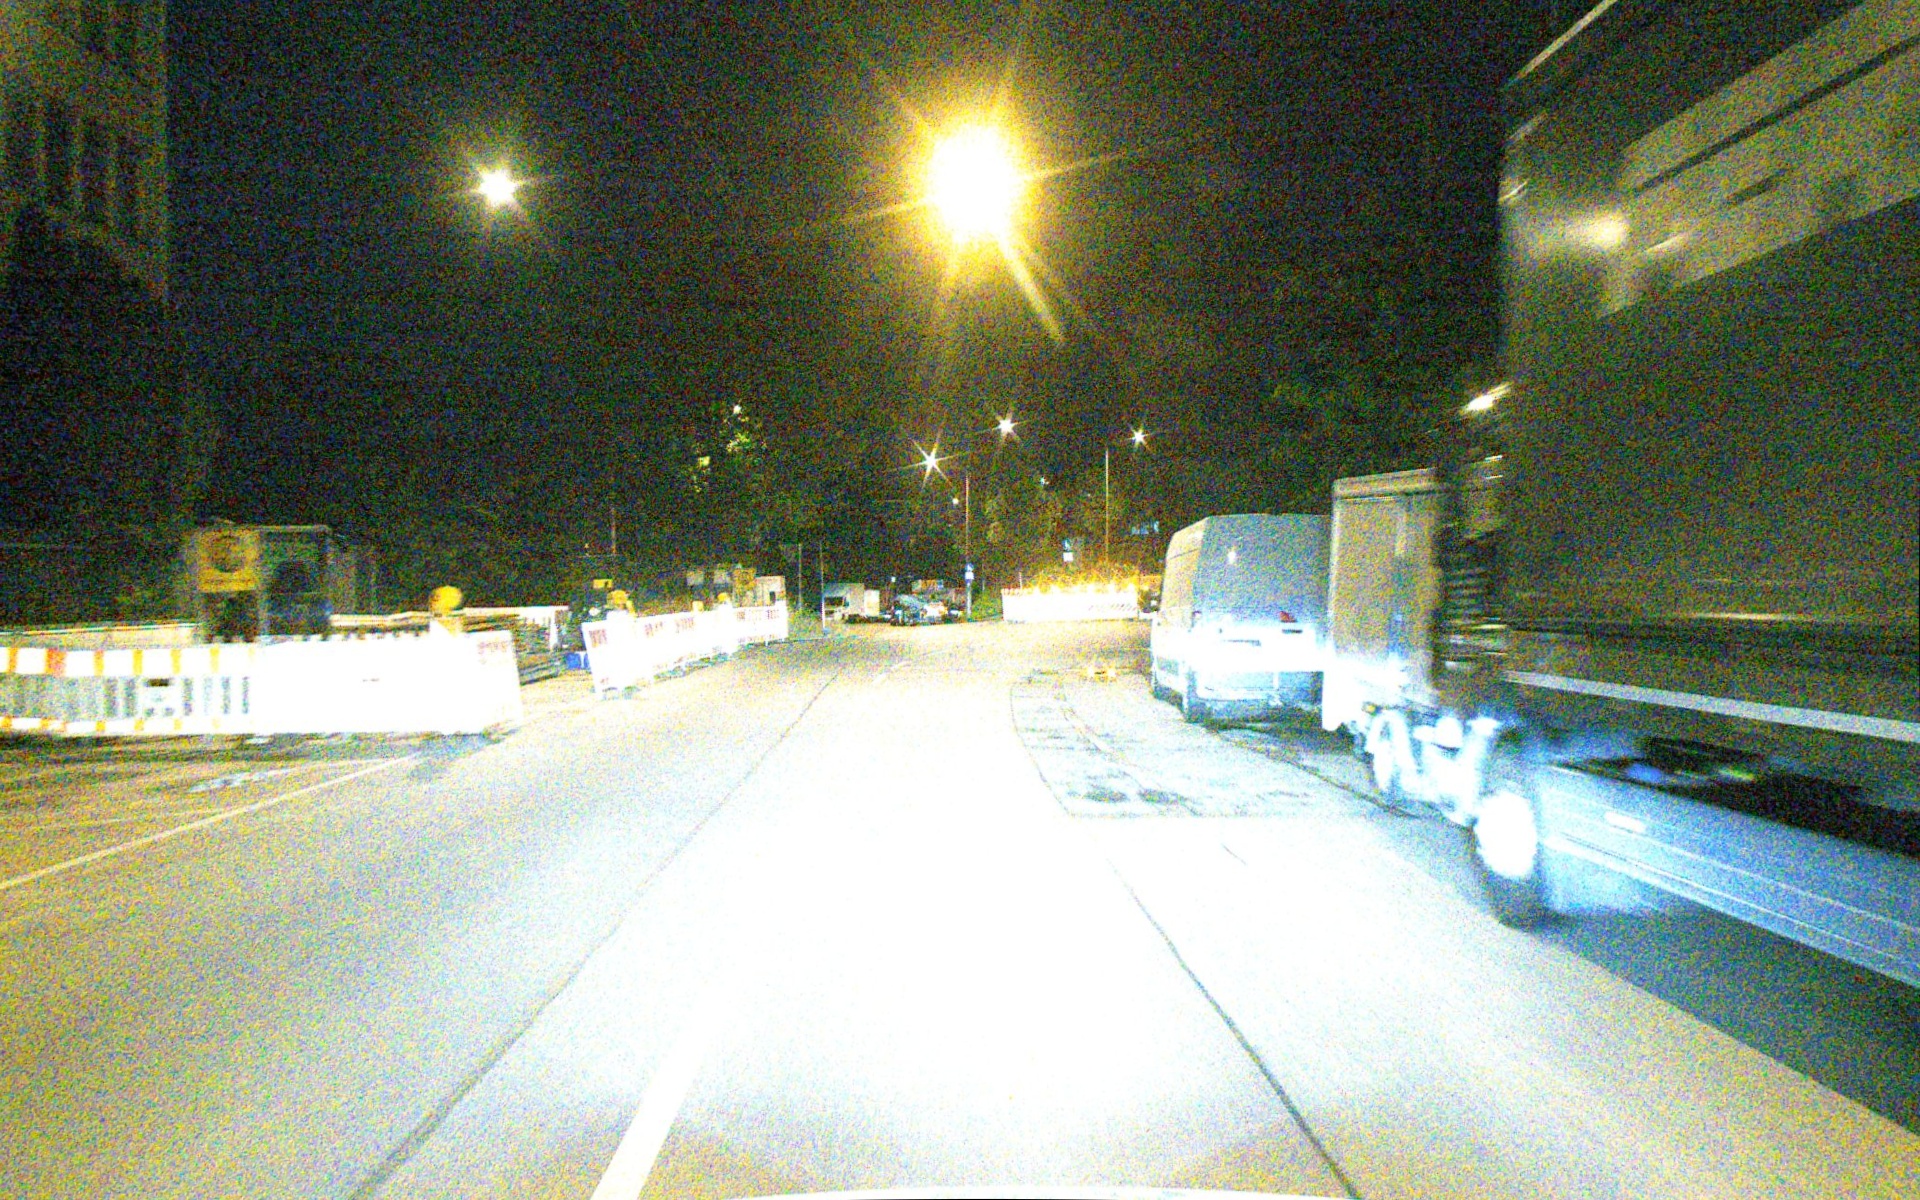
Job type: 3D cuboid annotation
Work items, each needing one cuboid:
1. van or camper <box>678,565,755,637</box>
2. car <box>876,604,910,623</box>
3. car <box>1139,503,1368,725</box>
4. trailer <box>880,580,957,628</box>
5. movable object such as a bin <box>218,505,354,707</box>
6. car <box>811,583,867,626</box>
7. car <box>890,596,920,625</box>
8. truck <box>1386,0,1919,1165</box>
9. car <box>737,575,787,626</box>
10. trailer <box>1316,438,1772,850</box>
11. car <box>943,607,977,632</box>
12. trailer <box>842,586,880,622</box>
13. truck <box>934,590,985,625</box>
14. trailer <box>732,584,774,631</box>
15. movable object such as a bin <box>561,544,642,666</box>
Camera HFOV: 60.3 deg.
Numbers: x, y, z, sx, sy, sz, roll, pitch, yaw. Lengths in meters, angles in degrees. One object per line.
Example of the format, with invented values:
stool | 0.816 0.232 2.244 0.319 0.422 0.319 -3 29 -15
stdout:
van or camper | -11.457 0.041 78.503 2.468 3.148 7.444 -2 0 0
car | -6.048 1.252 149.373 1.951 1.729 4.209 0 -1 13
car | 3.742 0.117 22.336 2.065 2.560 6.372 0 1 1
trailer | -2.096 0.211 81.917 1.542 2.198 5.171 -2 -1 -28
movable object such as a bin | -9.063 0.080 22.293 1.527 2.510 2.820 -2 0 -22
car | -9.562 0.317 131.771 2.465 3.226 7.144 -2 0 12
car | -3.192 0.627 96.738 1.686 1.690 3.999 0 -1 -1
truck | 4.188 -0.454 4.826 3.257 3.936 9.324 0 0 -2
car | -12.244 0.037 102.608 2.469 2.978 7.197 -2 0 -3
trailer | 4.119 0.238 12.638 1.599 2.517 5.026 0 1 -1
car | 0.014 1.499 125.243 1.684 1.853 4.003 0 -1 14
trailer | -8.237 0.326 137.999 1.951 2.862 4.707 -1 0 13
truck | -0.015 0.702 167.884 1.953 3.463 8.979 0 1 22
trailer | -11.775 0.423 94.345 1.953 2.571 3.567 -2 0 -2
movable object such as a bin | -8.803 0.078 40.811 1.541 2.781 3.694 -3 1 -8
